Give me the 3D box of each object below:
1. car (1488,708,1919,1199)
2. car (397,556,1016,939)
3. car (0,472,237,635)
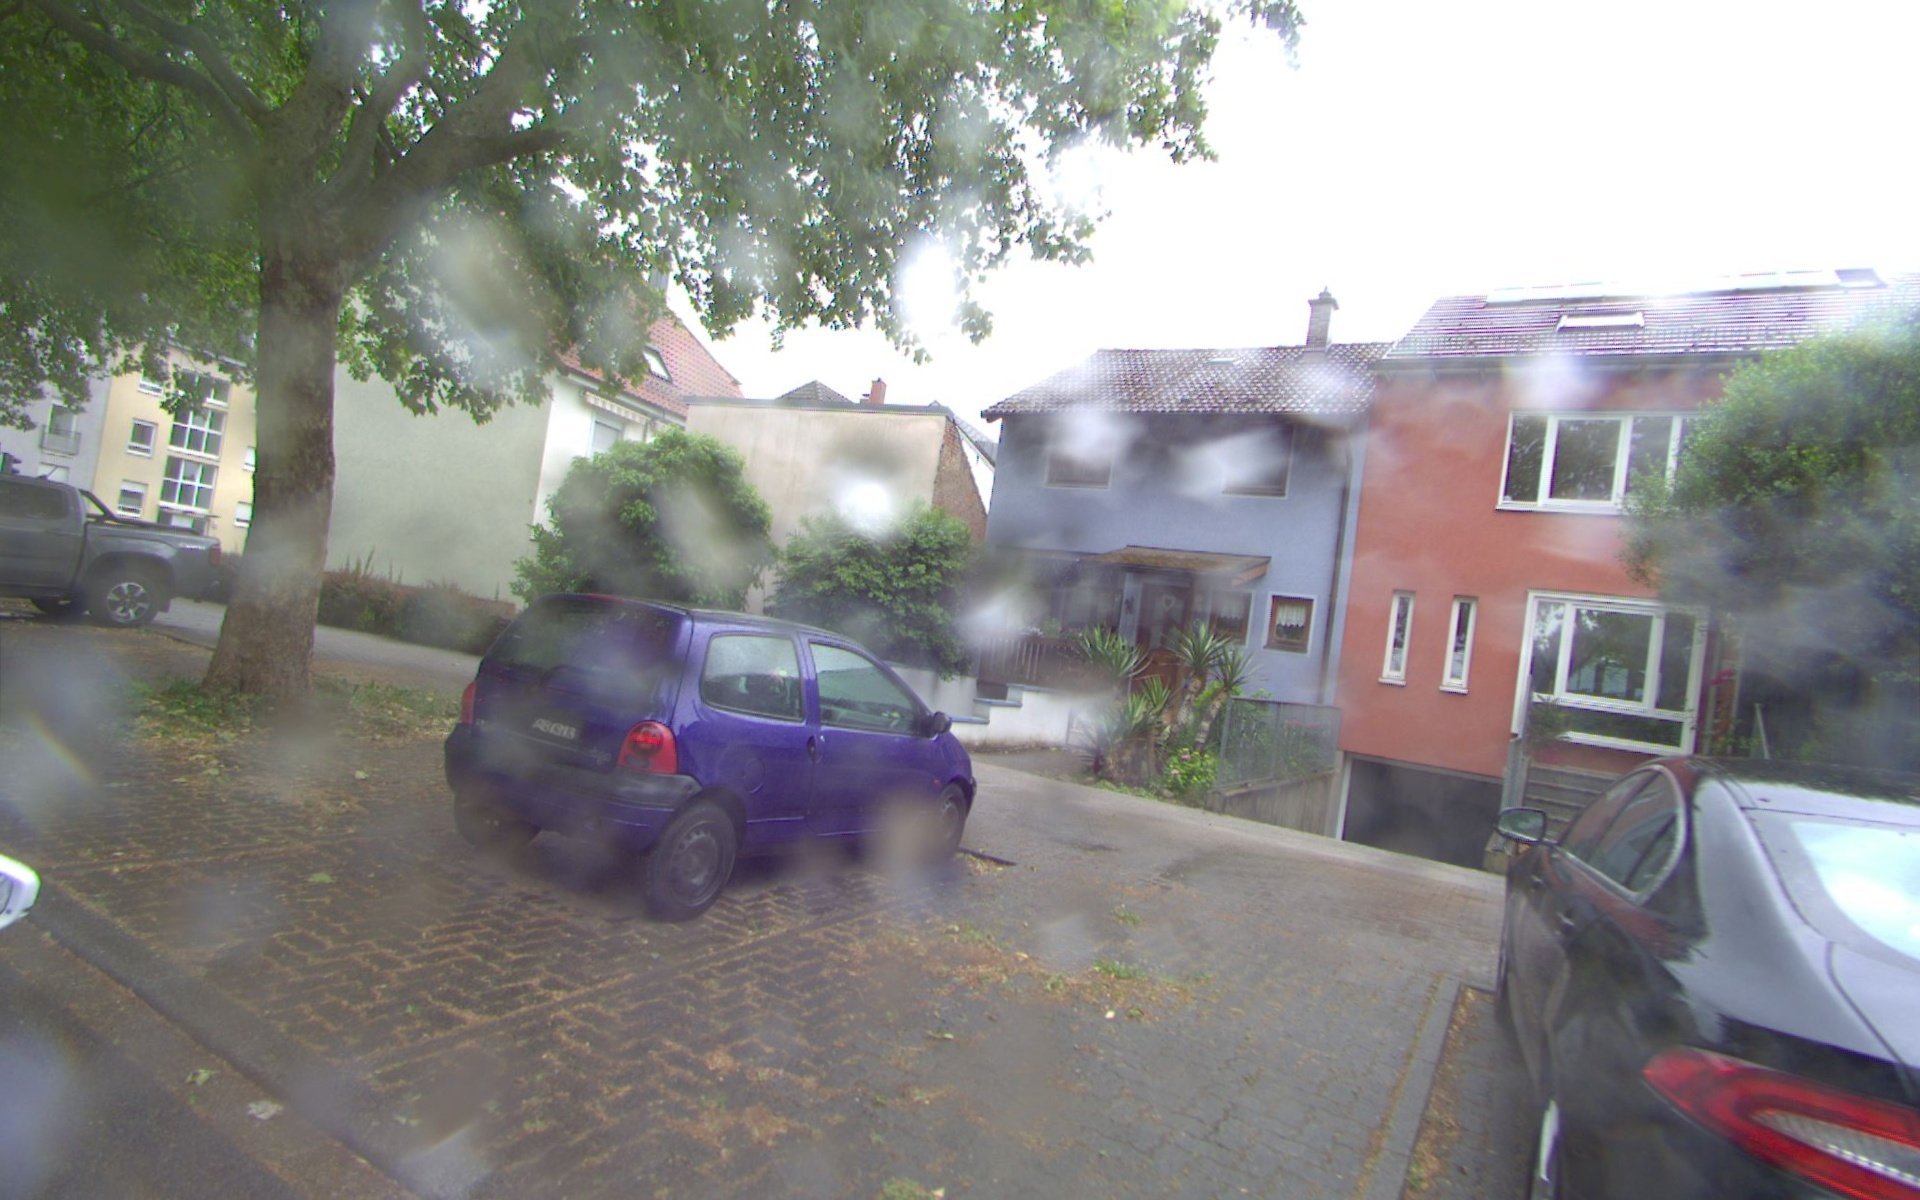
[{"bbox_3d":[2.806,1.231,3.076,1.904,1.489,4.780,7,-2,28],"label":"car"},{"bbox_3d":[-1.206,0.785,6.081,1.591,1.480,3.365,7,-3,30],"label":"car"},{"bbox_3d":[-12.516,-0.737,12.549,1.812,1.827,5.357,7,-2,25],"label":"car"}]
